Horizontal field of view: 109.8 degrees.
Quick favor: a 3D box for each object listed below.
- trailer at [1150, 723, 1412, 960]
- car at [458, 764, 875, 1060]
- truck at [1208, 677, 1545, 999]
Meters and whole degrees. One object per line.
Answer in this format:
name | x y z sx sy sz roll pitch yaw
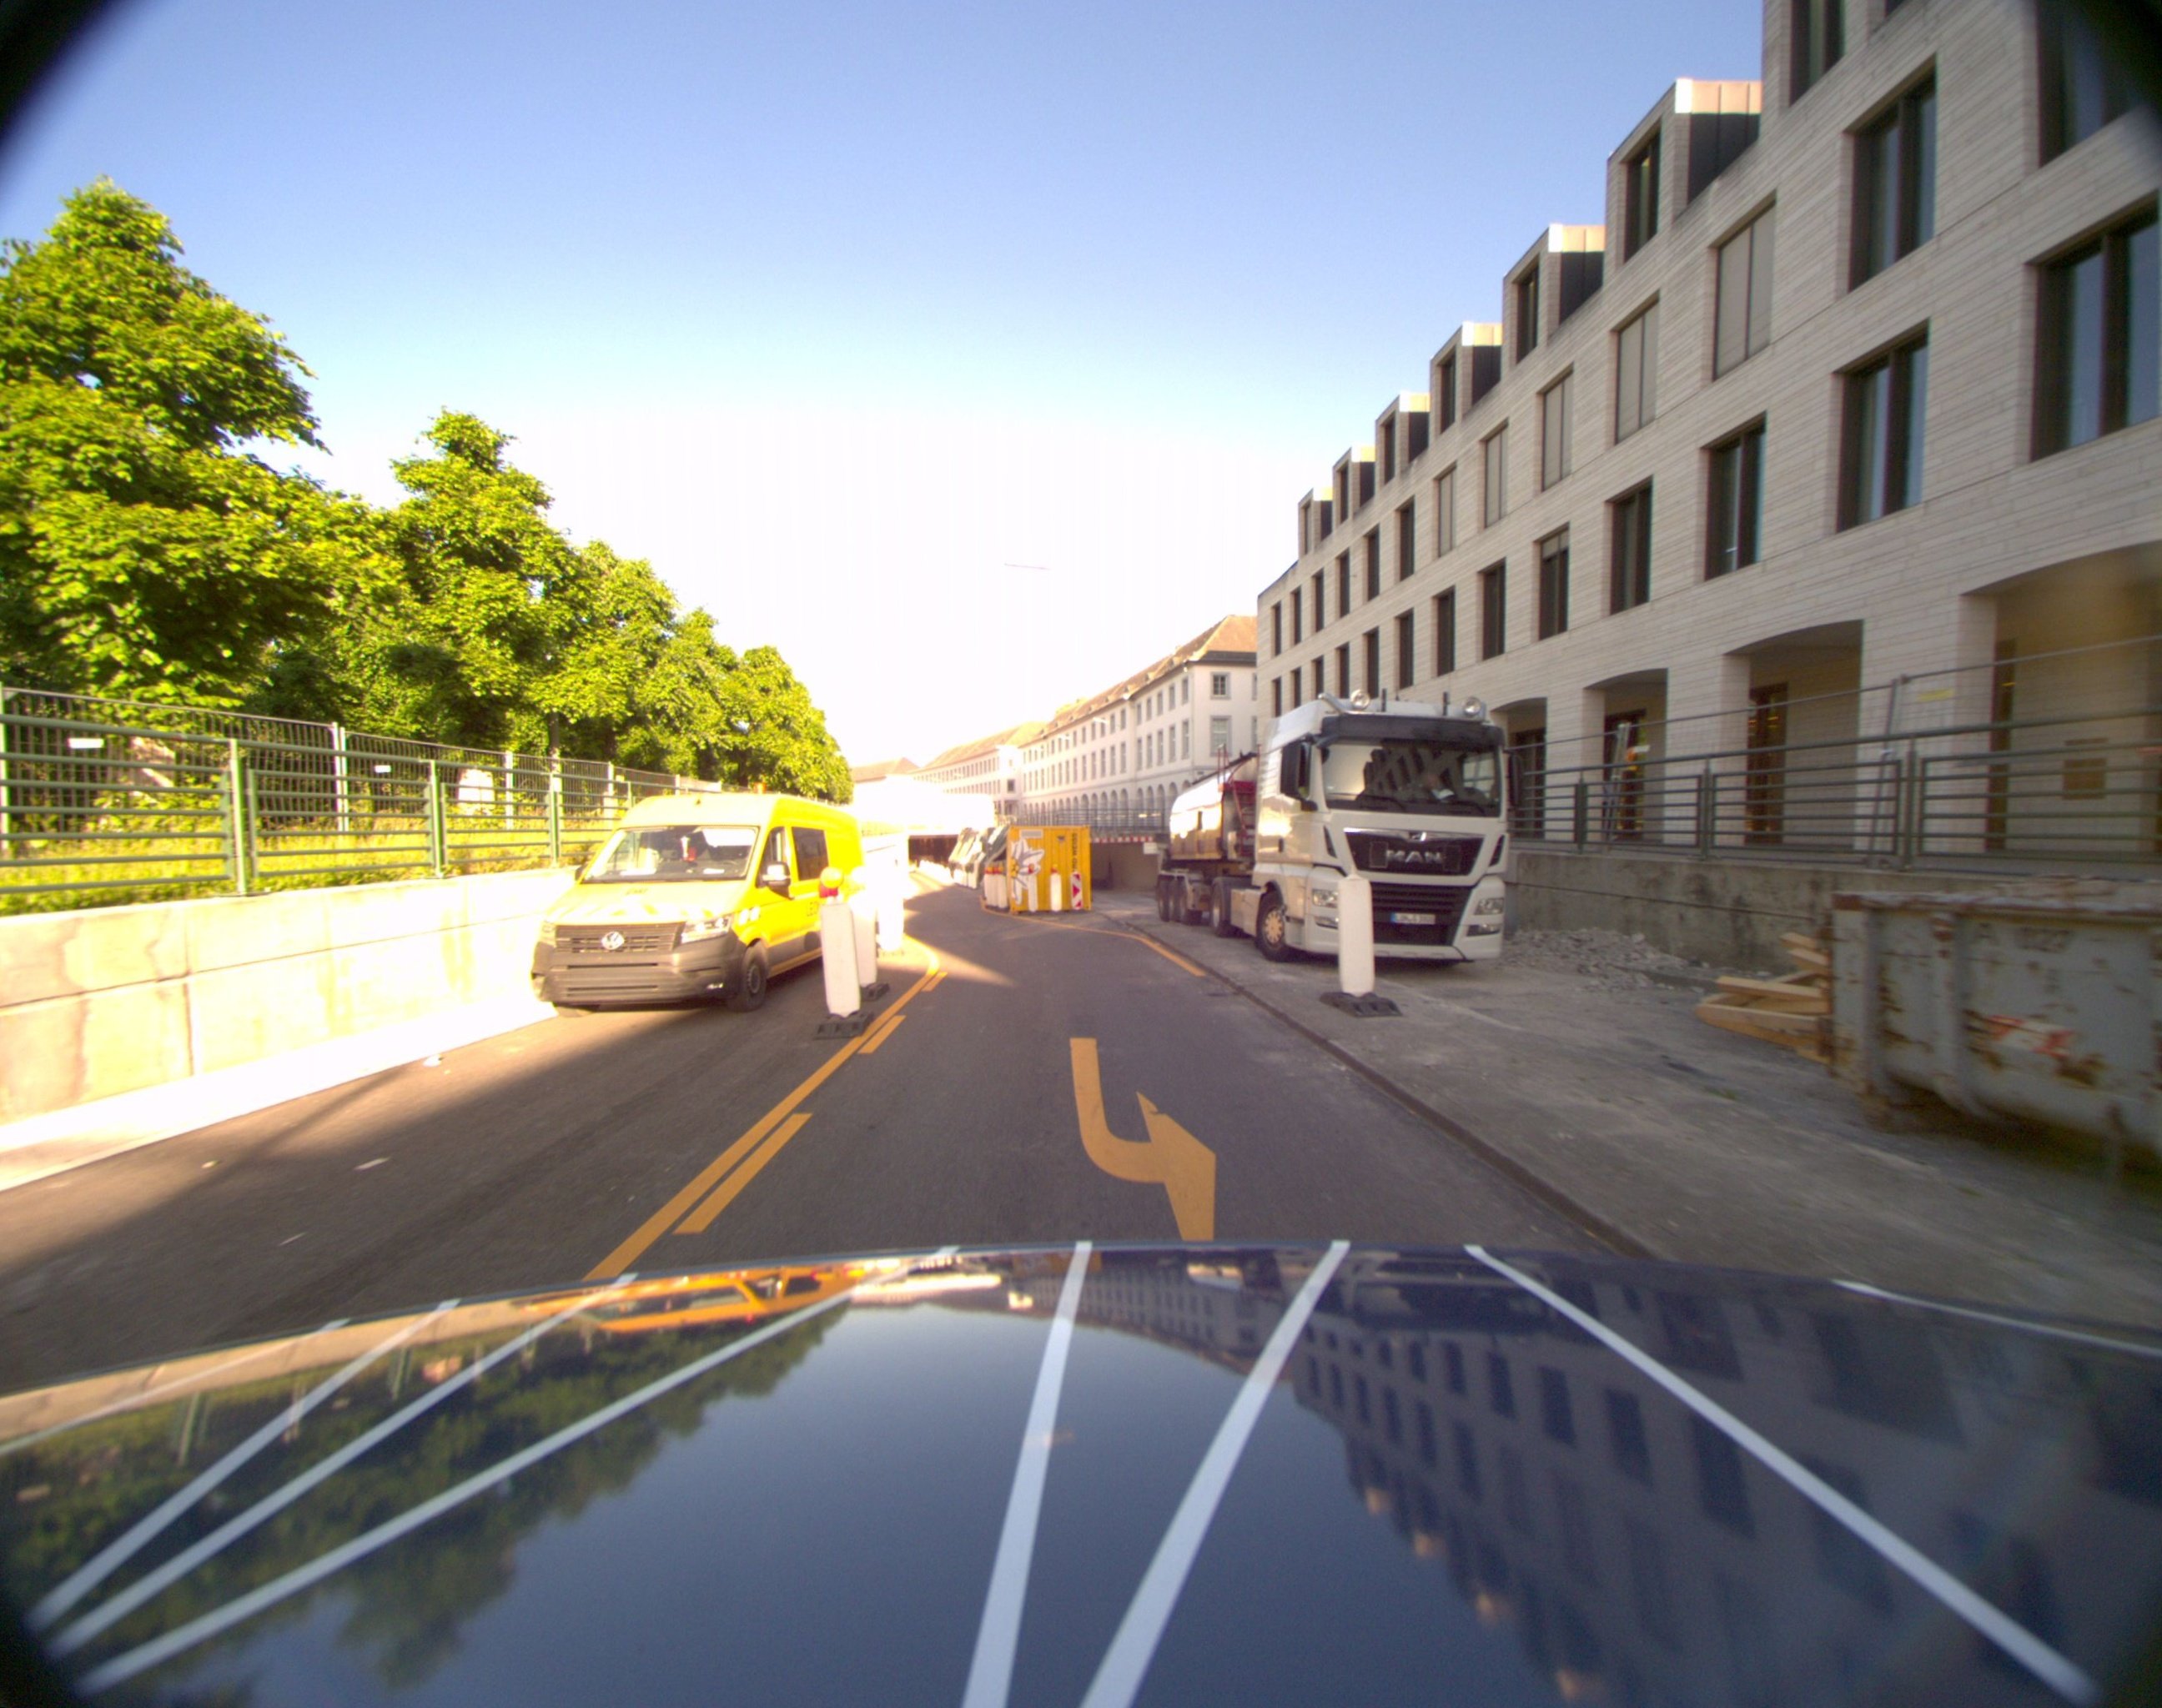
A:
trailer | 3.598 -0.170 16.462 2.650 3.647 8.745 3 0 -4
car | -4.648 0.511 10.309 2.118 2.609 6.984 -1 0 -3
truck | 3.777 -0.156 11.359 2.586 3.469 5.815 2 0 -1
